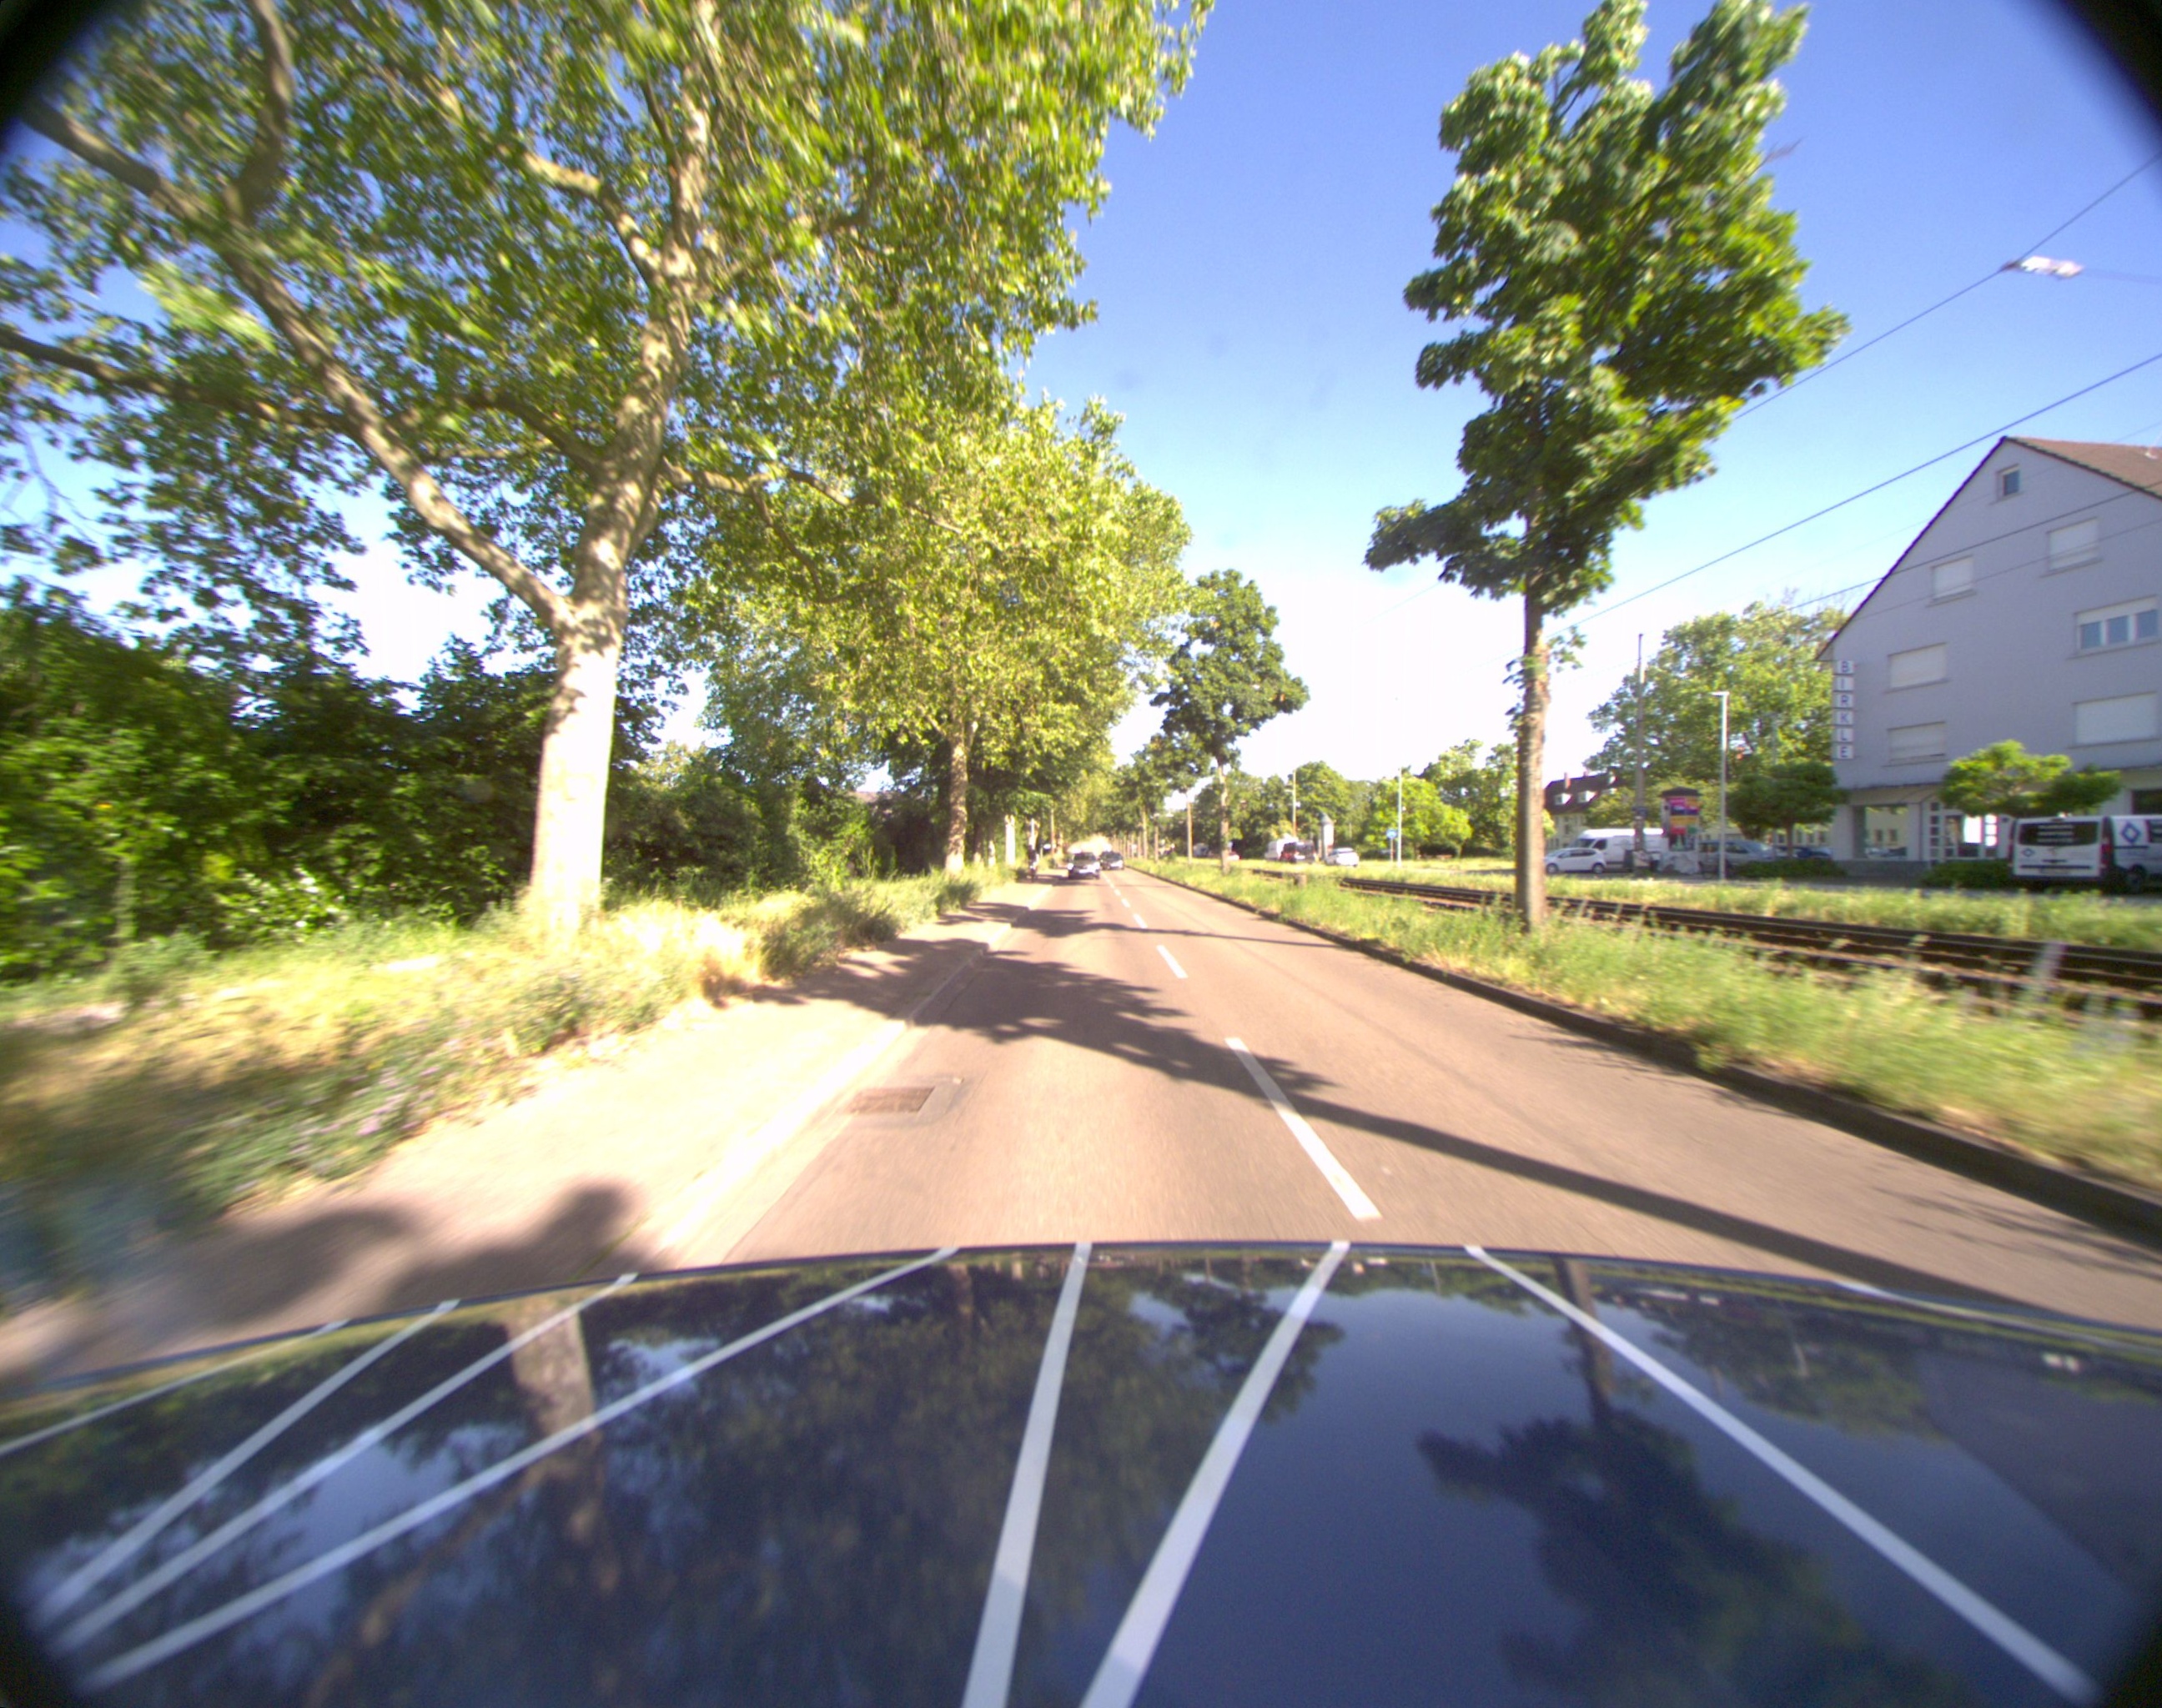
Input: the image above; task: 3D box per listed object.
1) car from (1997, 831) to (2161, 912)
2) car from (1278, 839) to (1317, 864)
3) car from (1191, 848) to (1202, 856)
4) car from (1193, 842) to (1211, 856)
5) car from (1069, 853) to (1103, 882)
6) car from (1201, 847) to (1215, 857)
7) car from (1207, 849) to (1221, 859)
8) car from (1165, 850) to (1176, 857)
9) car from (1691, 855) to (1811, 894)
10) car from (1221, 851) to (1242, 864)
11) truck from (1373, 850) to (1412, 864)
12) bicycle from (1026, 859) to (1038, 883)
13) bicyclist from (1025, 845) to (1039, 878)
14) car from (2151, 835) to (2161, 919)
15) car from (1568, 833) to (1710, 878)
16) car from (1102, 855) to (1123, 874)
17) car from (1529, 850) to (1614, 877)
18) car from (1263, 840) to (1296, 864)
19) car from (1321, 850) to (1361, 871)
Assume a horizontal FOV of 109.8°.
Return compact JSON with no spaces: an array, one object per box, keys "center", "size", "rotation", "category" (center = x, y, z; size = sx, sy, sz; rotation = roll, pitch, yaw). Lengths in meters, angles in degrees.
[{"center":[26.772,0.386,19.566],"size":[4.633,1.934,1.998],"rotation":[-1,1,-10],"category":"car"},{"center":[21.993,-0.278,77.407],"size":[2.188,2.363,6.463],"rotation":[-1,1,1],"category":"car"},{"center":[23.486,-0.386,154.851],"size":[1.772,1.554,4.282],"rotation":[-1,1,3],"category":"car"},{"center":[22.733,-0.869,143.007],"size":[2.231,2.565,6.798],"rotation":[-1,0,1],"category":"car"},{"center":[0.282,0.729,43.654],"size":[1.808,1.478,3.546],"rotation":[-1,1,0],"category":"car"},{"center":[22.632,-0.381,135.484],"size":[1.626,1.613,4.532],"rotation":[-1,1,0],"category":"car"},{"center":[22.496,-0.056,128.365],"size":[1.678,1.575,4.248],"rotation":[-1,1,2],"category":"car"},{"center":[18.679,-0.115,158.909],"size":[1.998,1.522,3.751],"rotation":[-1,0,2],"category":"car"},{"center":[31.940,0.916,36.388],"size":[1.801,1.661,4.096],"rotation":[-2,1,-8],"category":"car"},{"center":[17.563,0.396,88.591],"size":[1.680,1.401,4.000],"rotation":[-1,0,0],"category":"car"},{"center":[44.769,0.415,109.195],"size":[4.946,1.858,2.080],"rotation":[-2,1,-19],"category":"truck"},{"center":[-2.374,0.813,36.874],"size":[0.441,1.146,1.823],"rotation":[-1,0,1],"category":"bicycle"},{"center":[-2.379,0.356,36.849],"size":[0.615,1.619,0.909],"rotation":[-1,1,1],"category":"bicyclist"},{"center":[27.090,0.508,17.025],"size":[4.151,1.941,1.998],"rotation":[-1,1,-10],"category":"car"},{"center":[33.676,0.052,45.995],"size":[7.086,2.493,2.329],"rotation":[-1,1,-4],"category":"car"},{"center":[2.579,0.844,62.668],"size":[1.714,1.478,3.546],"rotation":[-1,1,2],"category":"car"},{"center":[27.824,0.554,43.195],"size":[3.621,1.469,1.751],"rotation":[-1,1,8],"category":"car"},{"center":[22.247,-0.259,85.385],"size":[2.007,2.482,6.136],"rotation":[-1,1,0],"category":"car"},{"center":[21.931,0.513,64.285],"size":[1.827,1.598,4.773],"rotation":[-1,1,1],"category":"car"}]
